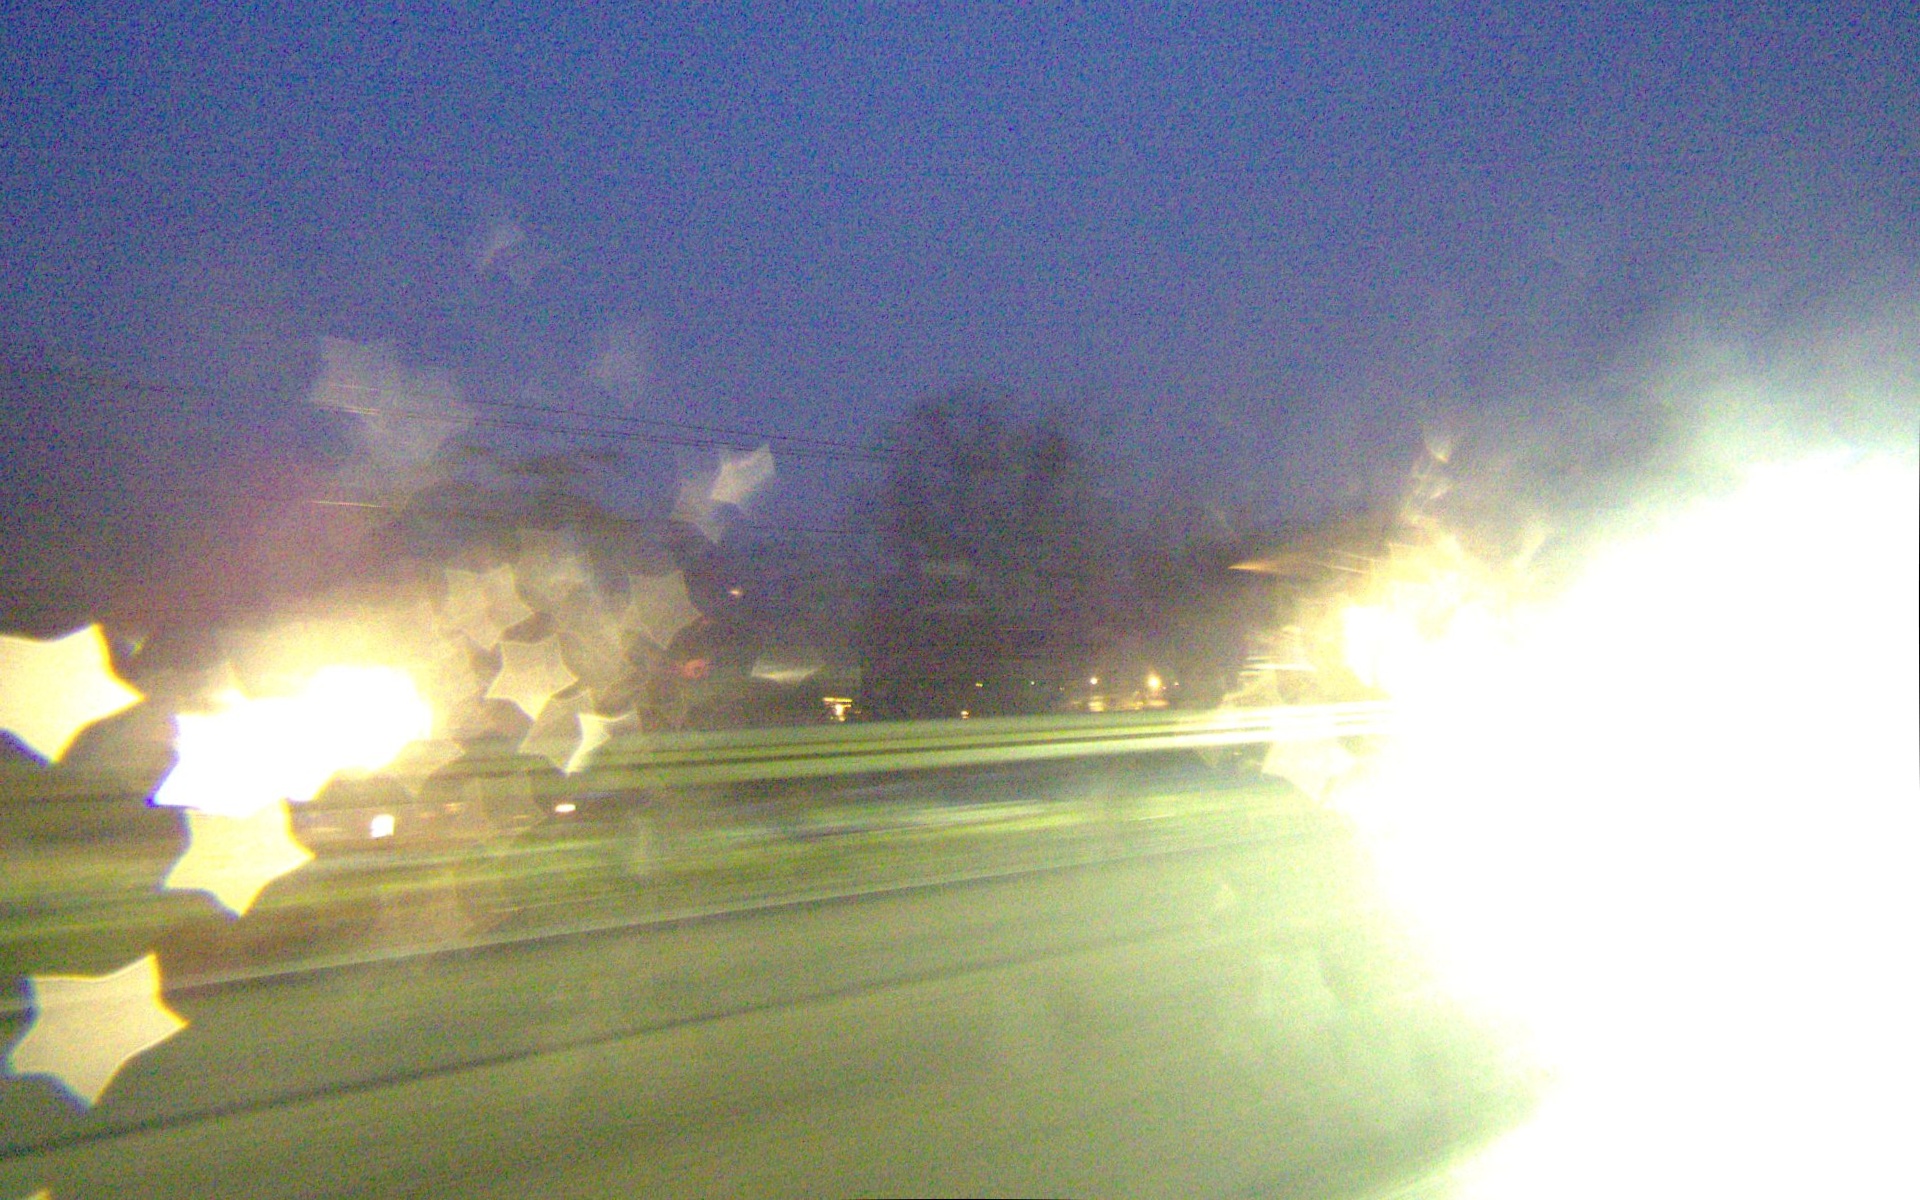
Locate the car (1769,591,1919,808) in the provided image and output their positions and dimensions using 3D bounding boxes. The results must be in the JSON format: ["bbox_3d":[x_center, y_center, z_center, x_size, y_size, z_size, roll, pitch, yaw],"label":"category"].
[{"bbox_3d":[9.333,0.815,8.998,4.419,1.689,1.772,1,0,-30],"label":"car"}]
